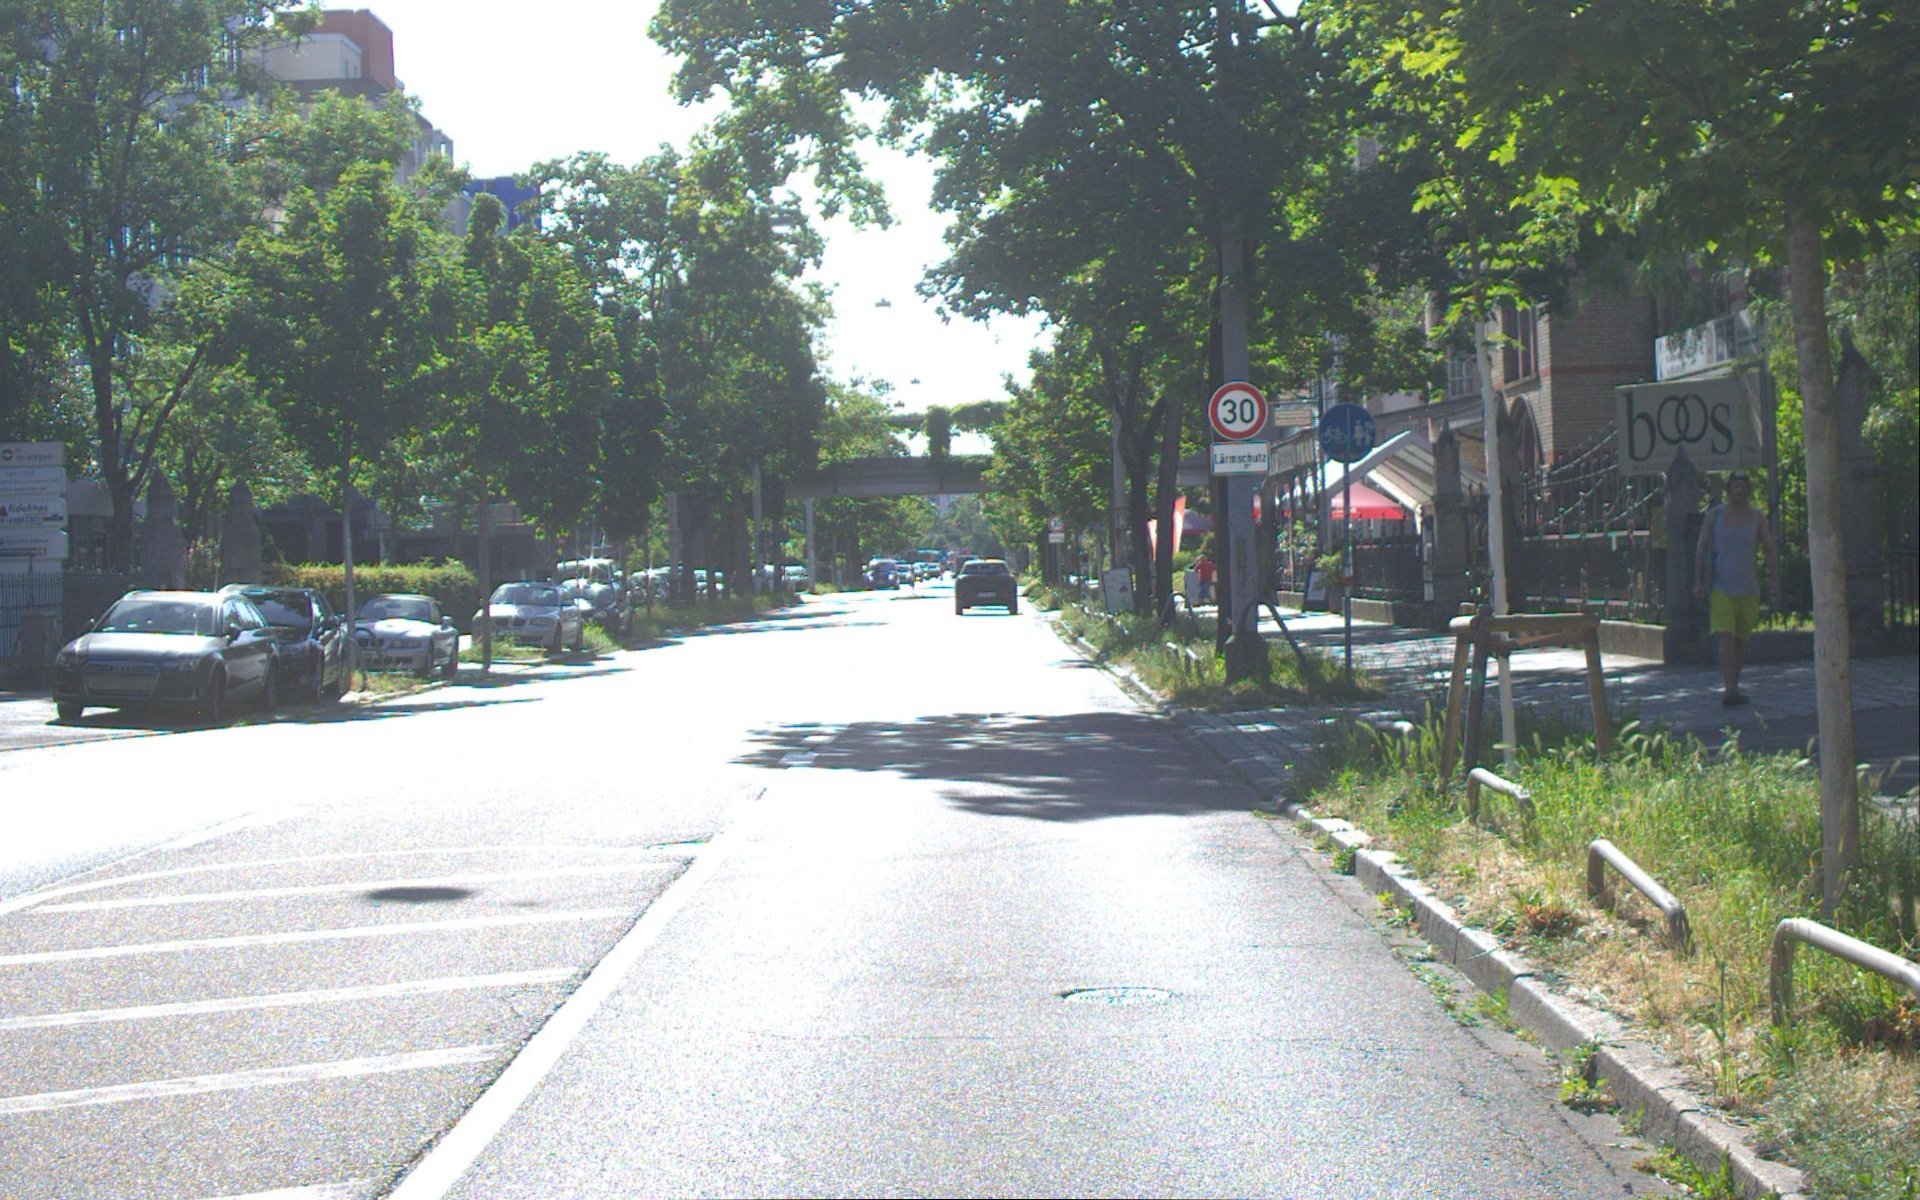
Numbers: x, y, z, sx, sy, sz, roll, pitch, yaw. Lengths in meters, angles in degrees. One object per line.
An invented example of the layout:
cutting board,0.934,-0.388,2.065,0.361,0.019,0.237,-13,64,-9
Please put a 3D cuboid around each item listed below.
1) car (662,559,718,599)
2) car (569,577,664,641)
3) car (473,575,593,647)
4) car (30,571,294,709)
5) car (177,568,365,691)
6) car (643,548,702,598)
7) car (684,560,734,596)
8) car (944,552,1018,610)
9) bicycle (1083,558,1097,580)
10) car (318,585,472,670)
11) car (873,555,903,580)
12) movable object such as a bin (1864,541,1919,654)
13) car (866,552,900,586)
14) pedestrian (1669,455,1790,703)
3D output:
car,-10.794,-0.863,137.520,1.856,1.563,3.871,0,1,1
car,-8.065,0.193,80.985,1.712,1.454,4.072,0,1,2
car,-8.580,0.201,69.331,1.688,1.378,4.191,0,1,3
car,-9.287,0.425,40.382,1.856,1.422,4.720,3,1,1
car,-9.145,0.351,45.960,1.855,1.489,4.707,2,0,-4
car,-10.808,-1.026,129.423,1.855,1.843,4.562,0,1,-1
car,-10.705,-0.967,146.999,1.855,1.518,4.319,0,1,-1
car,0.574,-0.545,97.691,1.984,1.595,4.141,0,1,-1
bicycle,6.302,-1.513,166.399,0.589,1.024,1.860,-1,0,-1
car,-8.773,0.402,53.630,1.678,1.251,4.015,0,1,1
car,-4.824,-2.194,231.666,1.856,1.563,4.715,-2,1,0
movable object such as a bin,8.400,-0.029,30.303,0.624,0.962,0.667,-3,1,0
car,-4.425,-1.793,197.979,1.855,1.819,4.610,-3,1,-1
pedestrian,5.764,-0.161,25.732,0.748,1.781,0.810,-4,1,14
